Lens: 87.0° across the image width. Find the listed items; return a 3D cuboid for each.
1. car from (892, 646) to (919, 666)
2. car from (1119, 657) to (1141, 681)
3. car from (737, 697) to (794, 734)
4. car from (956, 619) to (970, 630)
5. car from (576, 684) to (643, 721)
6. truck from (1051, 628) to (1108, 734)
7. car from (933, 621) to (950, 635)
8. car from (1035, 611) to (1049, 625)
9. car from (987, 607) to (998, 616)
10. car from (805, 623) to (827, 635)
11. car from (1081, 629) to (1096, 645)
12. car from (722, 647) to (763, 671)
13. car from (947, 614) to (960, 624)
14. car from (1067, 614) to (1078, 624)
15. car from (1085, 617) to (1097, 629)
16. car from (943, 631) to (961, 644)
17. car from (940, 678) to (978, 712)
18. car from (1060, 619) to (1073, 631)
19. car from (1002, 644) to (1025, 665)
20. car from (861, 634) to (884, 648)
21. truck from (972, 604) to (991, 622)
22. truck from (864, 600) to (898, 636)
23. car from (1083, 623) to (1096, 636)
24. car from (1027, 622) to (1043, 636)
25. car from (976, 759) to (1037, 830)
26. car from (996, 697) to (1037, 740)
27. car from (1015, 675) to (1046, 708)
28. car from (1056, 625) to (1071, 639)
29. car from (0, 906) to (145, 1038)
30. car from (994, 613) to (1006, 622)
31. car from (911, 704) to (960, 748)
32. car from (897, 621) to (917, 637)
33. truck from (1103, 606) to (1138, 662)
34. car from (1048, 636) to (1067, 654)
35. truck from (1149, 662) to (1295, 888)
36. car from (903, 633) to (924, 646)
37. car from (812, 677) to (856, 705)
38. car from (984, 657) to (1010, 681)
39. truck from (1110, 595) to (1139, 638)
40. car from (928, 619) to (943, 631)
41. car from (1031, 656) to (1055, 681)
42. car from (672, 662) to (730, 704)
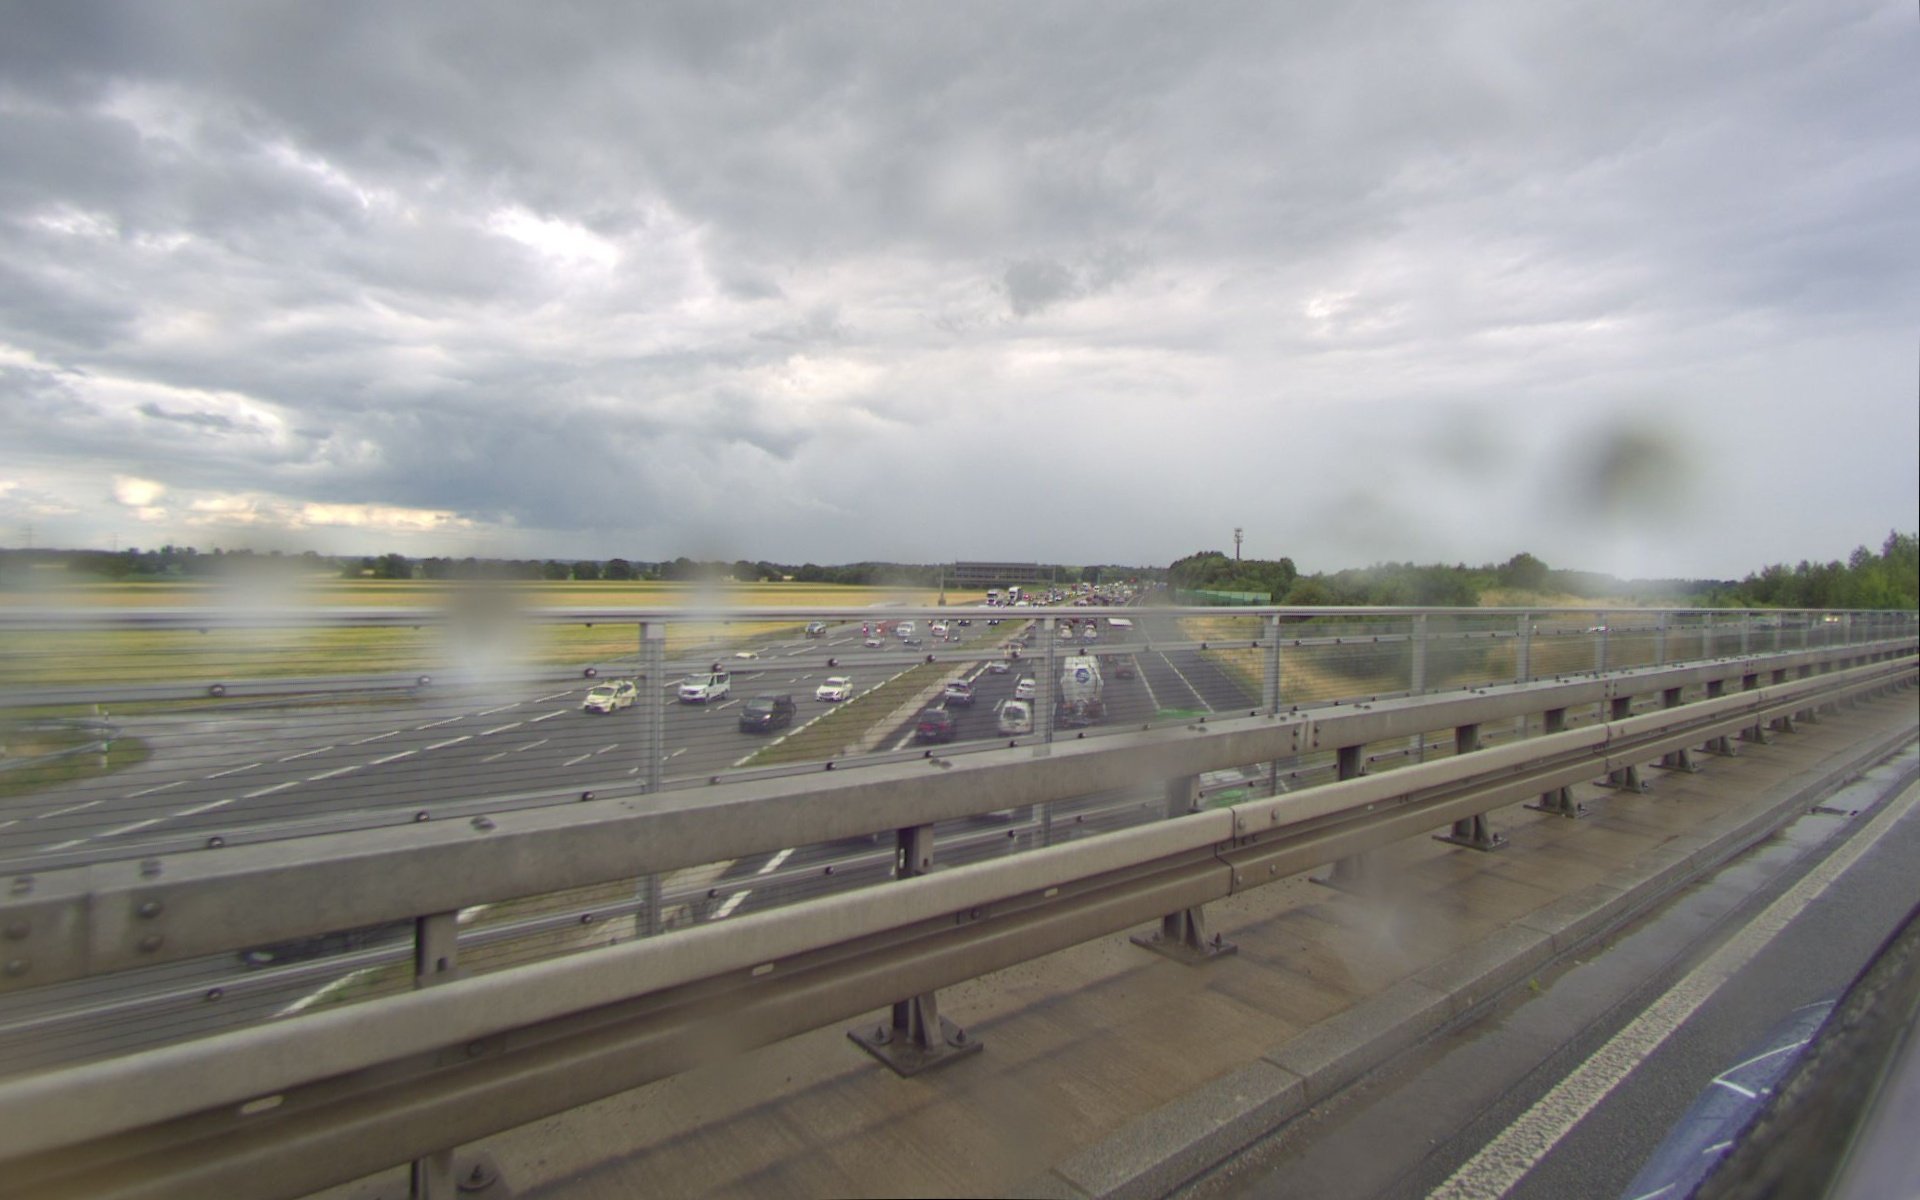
[{"bbox_3d":[-5.500,5.616,102.596,1.785,1.690,4.712,0,0,9],"label":"car"},{"bbox_3d":[15.127,6.124,90.100,1.826,1.797,4.713,0,0,9],"label":"car"},{"bbox_3d":[-10.986,6.536,57.547,1.784,1.504,4.715,0,0,7],"label":"car"},{"bbox_3d":[0.532,4.049,170.285,1.784,1.690,4.714,0,0,8],"label":"car"},{"bbox_3d":[-21.361,6.234,61.874,1.785,1.690,4.710,0,0,11],"label":"car"},{"bbox_3d":[7.966,4.903,66.363,3.241,5.511,15.595,0,0,8],"label":"truck"},{"bbox_3d":[-2.574,3.956,145.377,1.784,1.870,4.715,0,0,7],"label":"car"},{"bbox_3d":[12.854,2.833,158.644,1.965,2.039,3.994,-3,0,6],"label":"car"},{"bbox_3d":[6.930,2.405,215.335,1.784,1.690,4.714,0,0,8],"label":"car"},{"bbox_3d":[-19.233,3.871,135.215,1.784,1.454,4.715,0,0,7],"label":"car"},{"bbox_3d":[17.013,4.861,133.468,1.826,1.797,4.713,0,0,9],"label":"car"},{"bbox_3d":[-18.554,5.030,86.684,1.785,1.690,4.710,0,0,11],"label":"car"},{"bbox_3d":[-1.157,3.417,183.595,1.784,1.690,4.714,0,0,8],"label":"car"},{"bbox_3d":[20.743,3.502,186.527,1.826,1.797,4.713,0,0,9],"label":"car"},{"bbox_3d":[22.155,3.854,170.947,1.826,1.797,4.713,0,0,9],"label":"car"},{"bbox_3d":[-1.014,5.029,135.517,1.784,1.454,4.715,0,0,7],"label":"car"},{"bbox_3d":[-0.034,6.306,67.597,1.826,1.797,4.713,0,0,9],"label":"car"},{"bbox_3d":[17.199,4.062,162.798,1.826,1.797,4.713,0,0,9],"label":"car"},{"bbox_3d":[5.472,5.531,102.685,1.826,1.797,4.713,0,0,9],"label":"car"},{"bbox_3d":[-10.340,4.864,120.295,1.784,1.454,4.715,0,0,7],"label":"car"},{"bbox_3d":[4.134,2.435,195.158,2.553,3.219,8.375,0,0,9],"label":"truck"},{"bbox_3d":[-10.825,2.400,139.953,2.641,4.684,9.732,0,0,8],"label":"truck"},{"bbox_3d":[19.254,4.386,150.420,1.826,1.797,4.713,0,0,9],"label":"car"},{"bbox_3d":[10.618,4.044,143.190,1.826,1.797,4.713,0,0,9],"label":"car"},{"bbox_3d":[1.826,7.305,38.450,1.826,1.690,4.713,0,0,9],"label":"car"},{"bbox_3d":[3.194,6.565,56.456,1.826,1.797,4.713,0,0,9],"label":"car"},{"bbox_3d":[5.021,6.434,71.676,1.826,1.797,4.713,0,0,9],"label":"car"},{"bbox_3d":[14.839,4.563,144.800,1.826,1.797,4.713,0,0,9],"label":"car"},{"bbox_3d":[-19.056,7.568,19.986,1.784,1.504,4.715,0,0,7],"label":"car"},{"bbox_3d":[7.714,3.399,195.284,1.826,1.690,4.713,0,0,9],"label":"car"},{"bbox_3d":[-1.253,6.611,53.595,1.826,1.690,4.713,0,0,9],"label":"car"},{"bbox_3d":[-7.091,3.884,135.754,1.784,1.907,4.715,0,0,7],"label":"car"},{"bbox_3d":[17.530,3.527,111.237,3.434,5.419,15.595,0,0,8],"label":"truck"},{"bbox_3d":[11.107,5.095,115.197,1.826,1.797,4.713,0,0,9],"label":"car"},{"bbox_3d":[8.859,5.395,36.413,3.241,5.230,15.595,0,0,8],"label":"truck"},{"bbox_3d":[-5.728,4.899,125.650,1.784,1.454,4.715,0,0,7],"label":"car"},{"bbox_3d":[-8.870,6.381,71.546,1.786,1.504,4.710,0,0,11],"label":"car"},{"bbox_3d":[3.341,6.107,90.140,1.826,1.797,4.713,0,0,9],"label":"car"},{"bbox_3d":[21.988,2.061,135.681,3.434,5.419,15.595,0,0,8],"label":"truck"},{"bbox_3d":[-3.912,3.993,162.993,1.784,1.690,4.714,0,0,8],"label":"car"},{"bbox_3d":[7.310,6.029,89.099,1.826,1.797,4.713,0,0,9],"label":"car"},{"bbox_3d":[-17.120,5.468,67.148,1.965,2.248,5.547,0,0,6],"label":"car"}]
